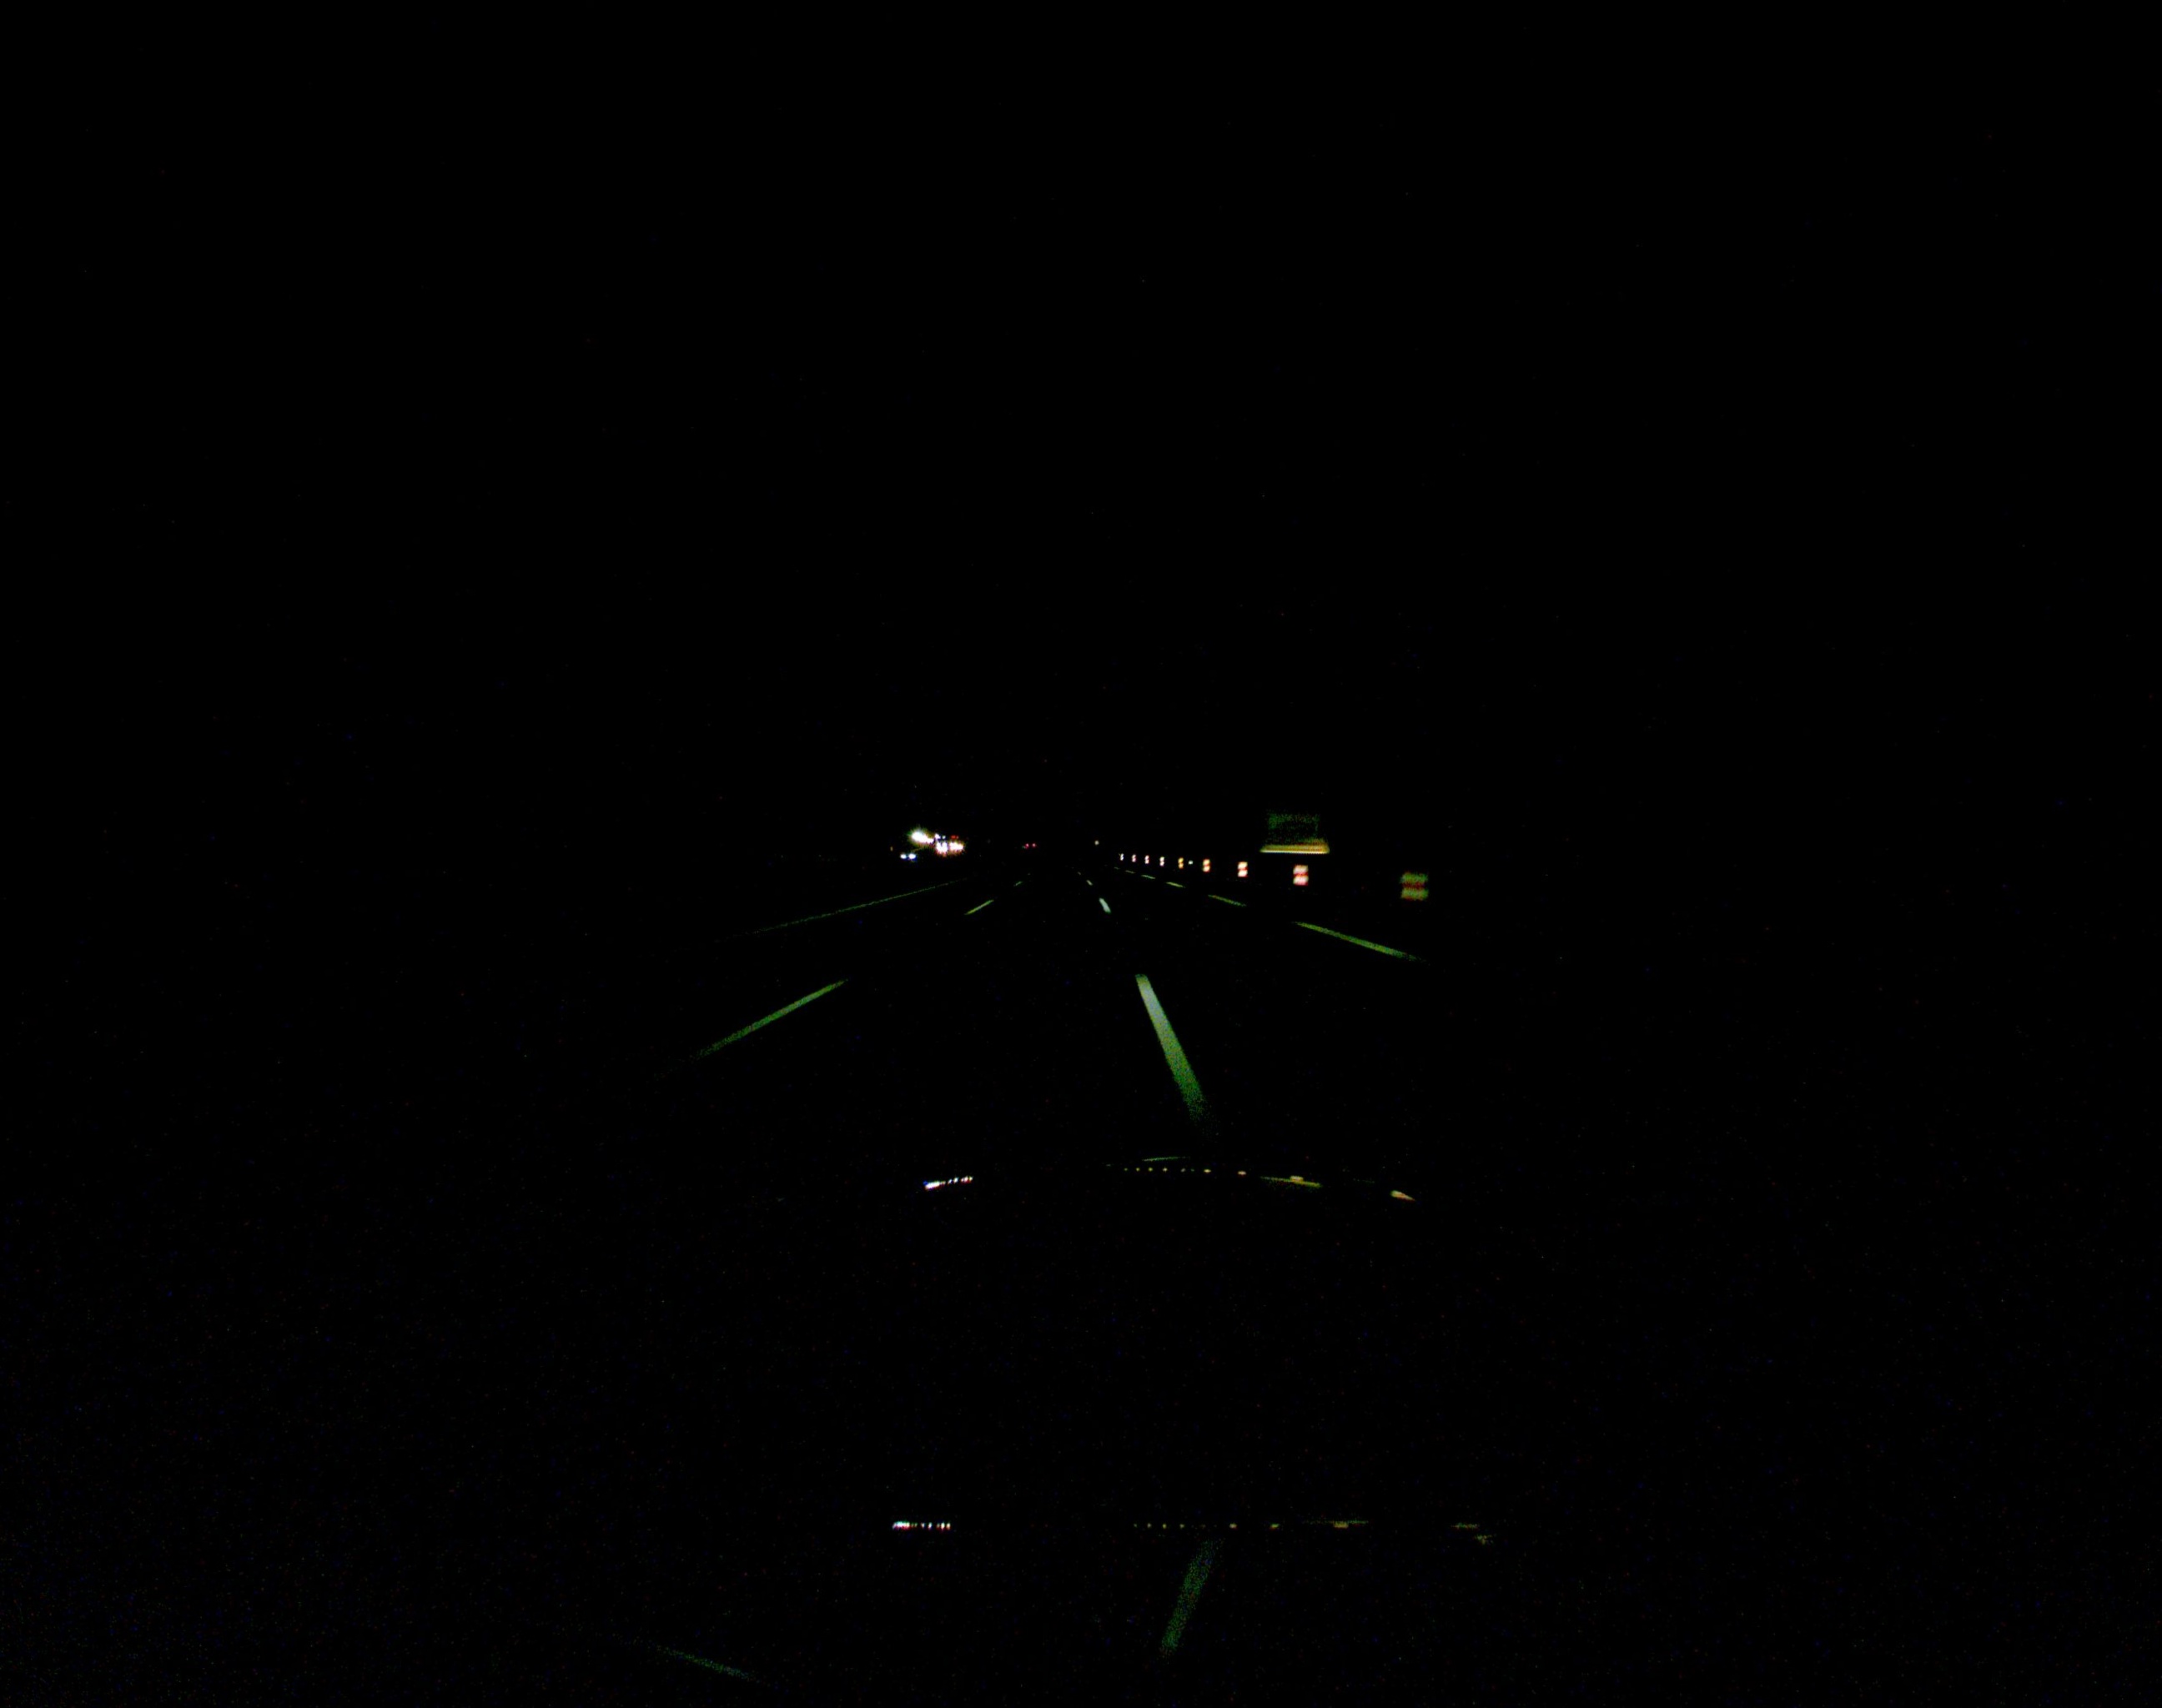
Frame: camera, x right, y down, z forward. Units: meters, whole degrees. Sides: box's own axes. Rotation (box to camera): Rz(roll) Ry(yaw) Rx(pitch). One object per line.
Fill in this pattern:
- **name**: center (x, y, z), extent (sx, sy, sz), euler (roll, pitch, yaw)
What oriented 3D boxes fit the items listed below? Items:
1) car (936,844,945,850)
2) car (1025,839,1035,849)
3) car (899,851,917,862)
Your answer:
- **car**: center (-35.410, -1.666, 205.157), extent (1.990, 1.508, 3.994), euler (-1, 1, -4)
- **car**: center (-14.206, -2.739, 226.494), extent (2.524, 2.553, 6.039), euler (2, 1, -6)
- **car**: center (-26.524, 0.376, 125.039), extent (1.990, 1.508, 4.309), euler (-1, 0, -4)
